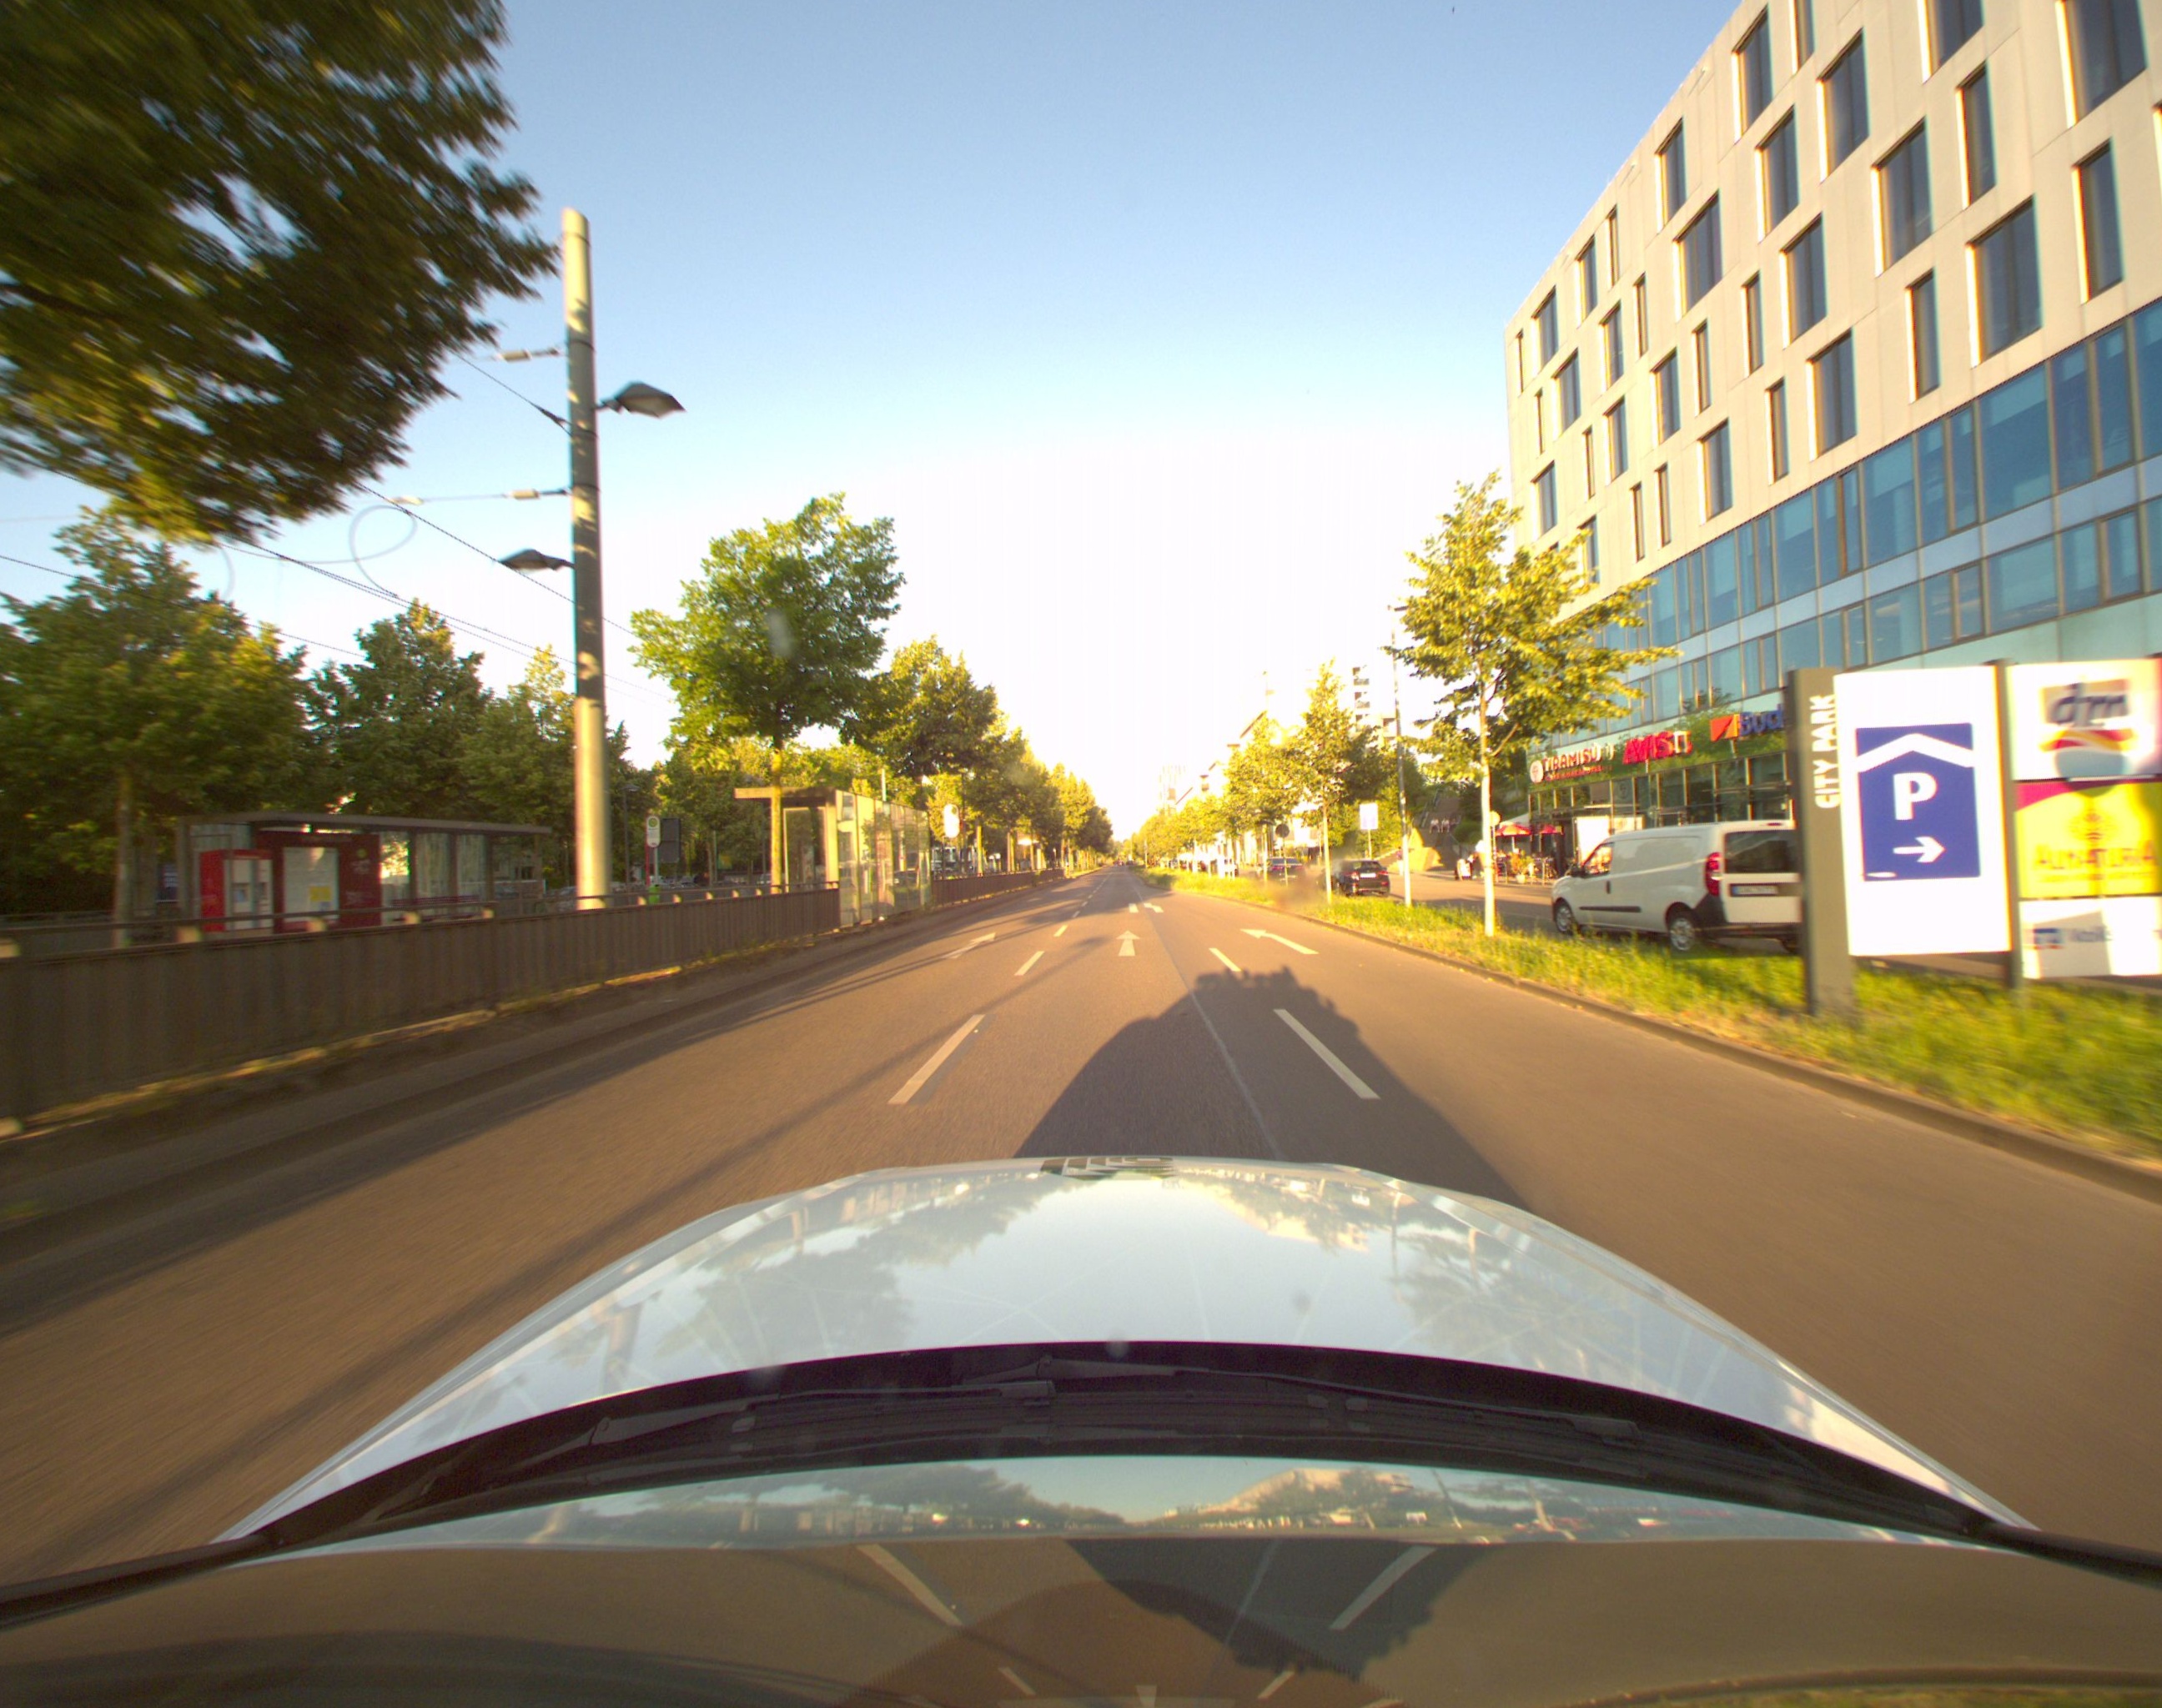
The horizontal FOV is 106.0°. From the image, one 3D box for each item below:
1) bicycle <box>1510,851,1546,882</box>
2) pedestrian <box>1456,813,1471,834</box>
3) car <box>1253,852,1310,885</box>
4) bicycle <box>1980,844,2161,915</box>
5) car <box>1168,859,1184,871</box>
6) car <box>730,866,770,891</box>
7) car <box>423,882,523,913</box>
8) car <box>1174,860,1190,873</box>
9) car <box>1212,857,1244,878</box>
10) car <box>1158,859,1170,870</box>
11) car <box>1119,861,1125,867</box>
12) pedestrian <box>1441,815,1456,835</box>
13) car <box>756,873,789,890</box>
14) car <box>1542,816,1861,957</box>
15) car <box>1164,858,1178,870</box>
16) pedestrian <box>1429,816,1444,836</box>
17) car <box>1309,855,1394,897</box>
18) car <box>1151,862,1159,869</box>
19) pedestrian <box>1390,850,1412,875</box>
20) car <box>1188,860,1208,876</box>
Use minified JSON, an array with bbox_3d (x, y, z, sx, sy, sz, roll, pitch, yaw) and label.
[{"bbox_3d":[17.348,0.474,31.624,0.489,1.155,1.636,-2,-1,1],"label":"bicycle"},{"bbox_3d":[27.942,-2.192,59.501,0.804,1.455,1.119,-4,-2,28],"label":"pedestrian"},{"bbox_3d":[10.820,0.775,44.265,1.987,1.697,4.593,0,-1,0],"label":"car"},{"bbox_3d":[16.441,0.402,13.560,0.632,1.068,2.123,-2,-1,3],"label":"bicycle"},{"bbox_3d":[14.032,1.609,120.736,1.767,1.636,3.558,-2,-1,-2],"label":"car"},{"bbox_3d":[-30.741,2.247,75.725,1.767,2.184,4.003,-2,-1,3],"label":"car"},{"bbox_3d":[-33.666,2.370,45.251,1.983,1.465,4.252,-3,-1,7],"label":"car"},{"bbox_3d":[14.086,1.762,113.923,1.887,1.771,3.948,-2,-1,2],"label":"car"},{"bbox_3d":[12.097,1.109,67.237,1.986,1.697,4.416,0,-1,2],"label":"car"},{"bbox_3d":[16.454,2.096,161.055,1.986,2.014,4.001,-2,-1,2],"label":"car"},{"bbox_3d":[12.277,2.994,243.016,1.689,1.596,4.001,-3,-1,2],"label":"car"},{"bbox_3d":[27.134,-2.130,60.097,0.804,1.455,1.119,-4,-2,28],"label":"pedestrian"},{"bbox_3d":[-36.557,3.262,96.628,1.897,1.816,4.226,-4,-1,5],"label":"car"},{"bbox_3d":[9.324,0.452,12.811,1.843,1.828,4.398,0,-1,3],"label":"car"},{"bbox_3d":[15.007,1.668,135.953,1.986,2.014,4.001,-2,-1,2],"label":"car"},{"bbox_3d":[26.465,-2.078,60.630,0.804,1.455,1.119,-4,-2,28],"label":"pedestrian"},{"bbox_3d":[9.961,0.786,30.331,1.818,1.435,4.461,0,-1,2],"label":"car"},{"bbox_3d":[18.465,2.784,203.242,1.689,1.596,4.001,-3,-1,2],"label":"car"},{"bbox_3d":[19.087,0.482,48.601,0.821,1.442,1.055,-2,-1,1],"label":"pedestrian"},{"bbox_3d":[12.930,1.543,90.212,2.019,1.697,4.404,0,-1,6],"label":"car"}]
